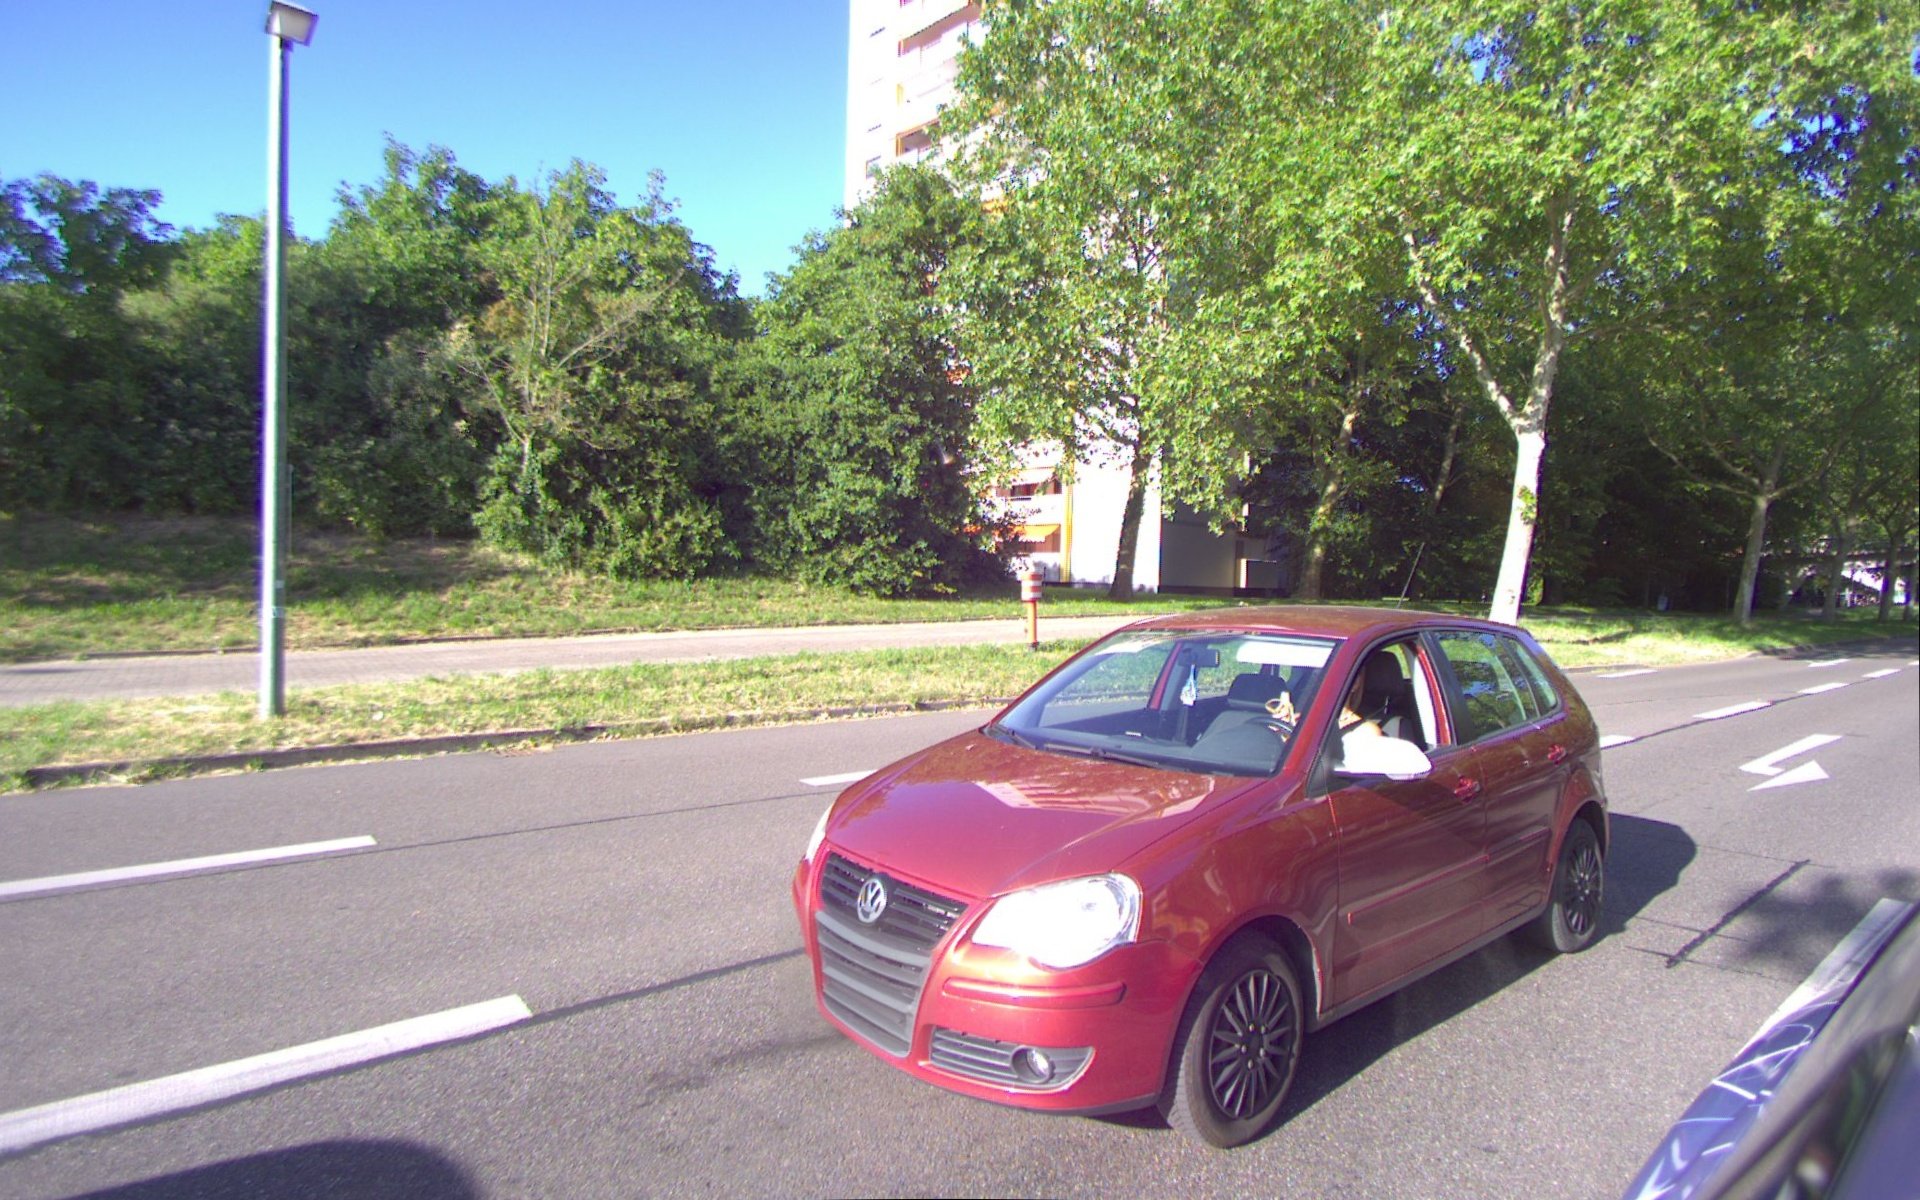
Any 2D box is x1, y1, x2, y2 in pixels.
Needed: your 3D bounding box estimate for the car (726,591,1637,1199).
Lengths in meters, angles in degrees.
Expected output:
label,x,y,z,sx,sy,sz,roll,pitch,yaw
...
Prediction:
label,x,y,z,sx,sy,sz,roll,pitch,yaw
car,1.126,0.705,4.042,3.694,1.456,1.645,-1,1,-40
